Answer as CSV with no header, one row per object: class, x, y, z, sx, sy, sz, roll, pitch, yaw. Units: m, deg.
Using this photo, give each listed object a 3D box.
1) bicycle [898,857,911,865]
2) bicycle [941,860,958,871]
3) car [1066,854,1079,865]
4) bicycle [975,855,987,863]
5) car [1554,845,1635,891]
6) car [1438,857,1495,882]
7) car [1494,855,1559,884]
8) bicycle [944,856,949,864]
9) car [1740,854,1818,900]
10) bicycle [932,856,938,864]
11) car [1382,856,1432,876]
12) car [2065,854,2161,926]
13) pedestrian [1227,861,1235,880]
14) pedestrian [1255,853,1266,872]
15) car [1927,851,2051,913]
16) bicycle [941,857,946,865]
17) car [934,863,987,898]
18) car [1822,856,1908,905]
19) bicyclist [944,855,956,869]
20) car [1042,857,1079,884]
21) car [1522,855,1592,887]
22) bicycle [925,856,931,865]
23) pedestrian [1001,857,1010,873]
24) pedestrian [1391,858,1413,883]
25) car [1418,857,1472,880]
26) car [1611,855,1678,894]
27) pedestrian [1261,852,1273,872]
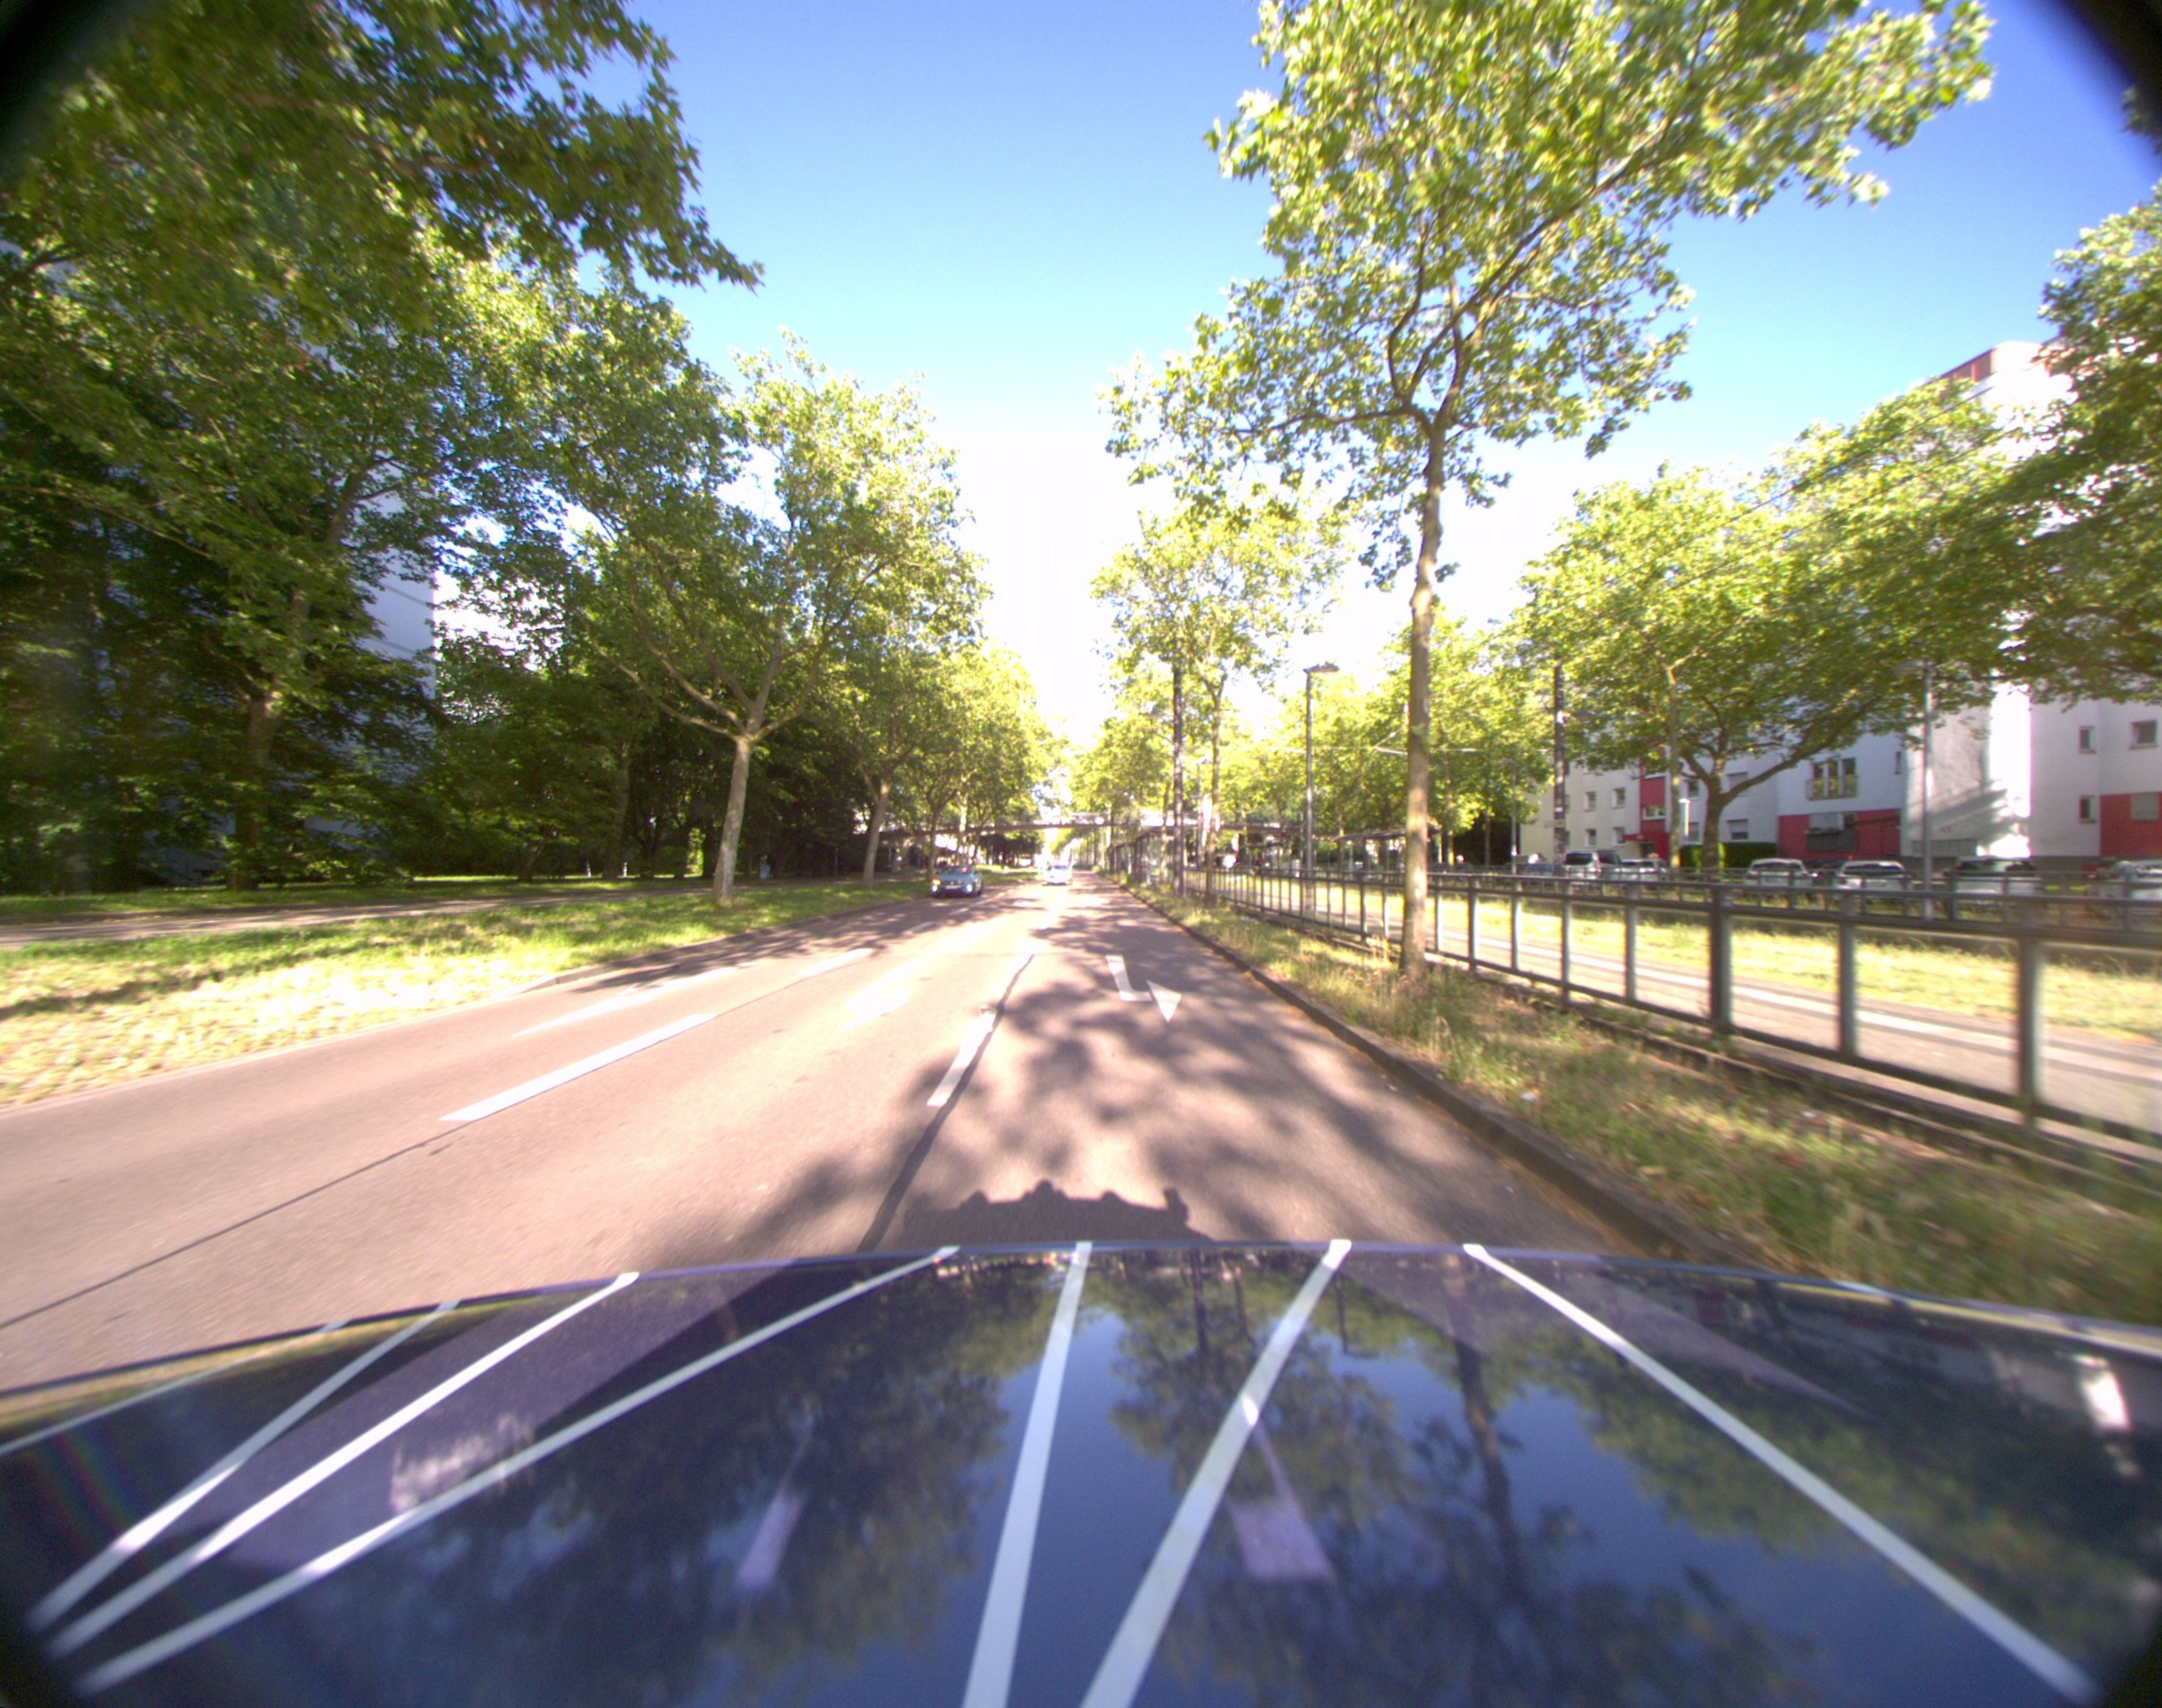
bicycle,-26.631,1.064,114.612,1.806,1.109,0.710,0,2,-8
bicycle,-15.386,1.342,88.977,1.831,1.140,0.817,2,-1,36
car,-1.335,0.853,113.485,1.899,1.601,3.999,-1,0,-1
bicycle,-16.595,0.816,126.053,2.074,1.151,0.561,1,0,-11
car,24.631,0.648,36.397,4.508,2.051,1.895,-1,-1,-39
car,25.040,0.988,49.340,4.208,1.420,1.696,-1,-1,-39
car,25.462,0.863,43.338,4.509,1.489,1.895,-1,-1,-42
bicycle,-22.895,0.989,129.133,0.577,1.246,1.805,-1,0,-2
car,24.937,0.798,27.247,1.895,1.495,4.510,-2,-1,41
bicycle,-24.399,0.957,127.004,0.577,1.246,1.805,-1,0,-2
car,25.273,0.948,58.848,4.208,1.420,1.696,-1,-1,-39
car,24.470,0.770,17.424,1.571,1.465,4.069,-2,-1,41
pedestrian,14.211,1.541,71.801,0.504,1.760,0.483,-2,1,-41
pedestrian,14.728,0.716,62.277,0.644,1.505,0.683,1,0,-13
car,25.010,0.719,21.071,1.571,1.559,4.069,-2,-1,41
bicycle,-22.476,1.111,124.234,0.577,1.246,1.805,-1,0,-2
car,-5.445,1.173,34.758,1.780,1.474,4.100,-2,-1,0
car,24.998,0.810,24.347,1.571,1.424,4.069,-2,-1,41
bicyclist,-15.330,0.915,88.952,0.954,1.622,0.817,2,-1,36
car,-1.276,1.036,49.625,1.897,1.623,4.503,-1,0,4
car,24.916,0.889,39.749,4.509,1.489,1.895,-1,-1,-42
bicycle,-23.420,0.984,116.444,0.577,1.246,1.805,-1,0,-2
pedestrian,-8.123,1.178,81.809,0.658,1.766,0.741,-1,-1,37
pedestrian,14.994,0.744,35.524,0.696,1.121,0.662,3,1,1
car,24.993,0.979,52.130,4.208,1.420,1.696,-1,-1,-39
car,24.872,0.884,33.503,4.068,1.601,1.685,-1,-1,-44
pedestrian,15.210,0.674,62.062,0.731,1.625,0.715,1,1,-3
